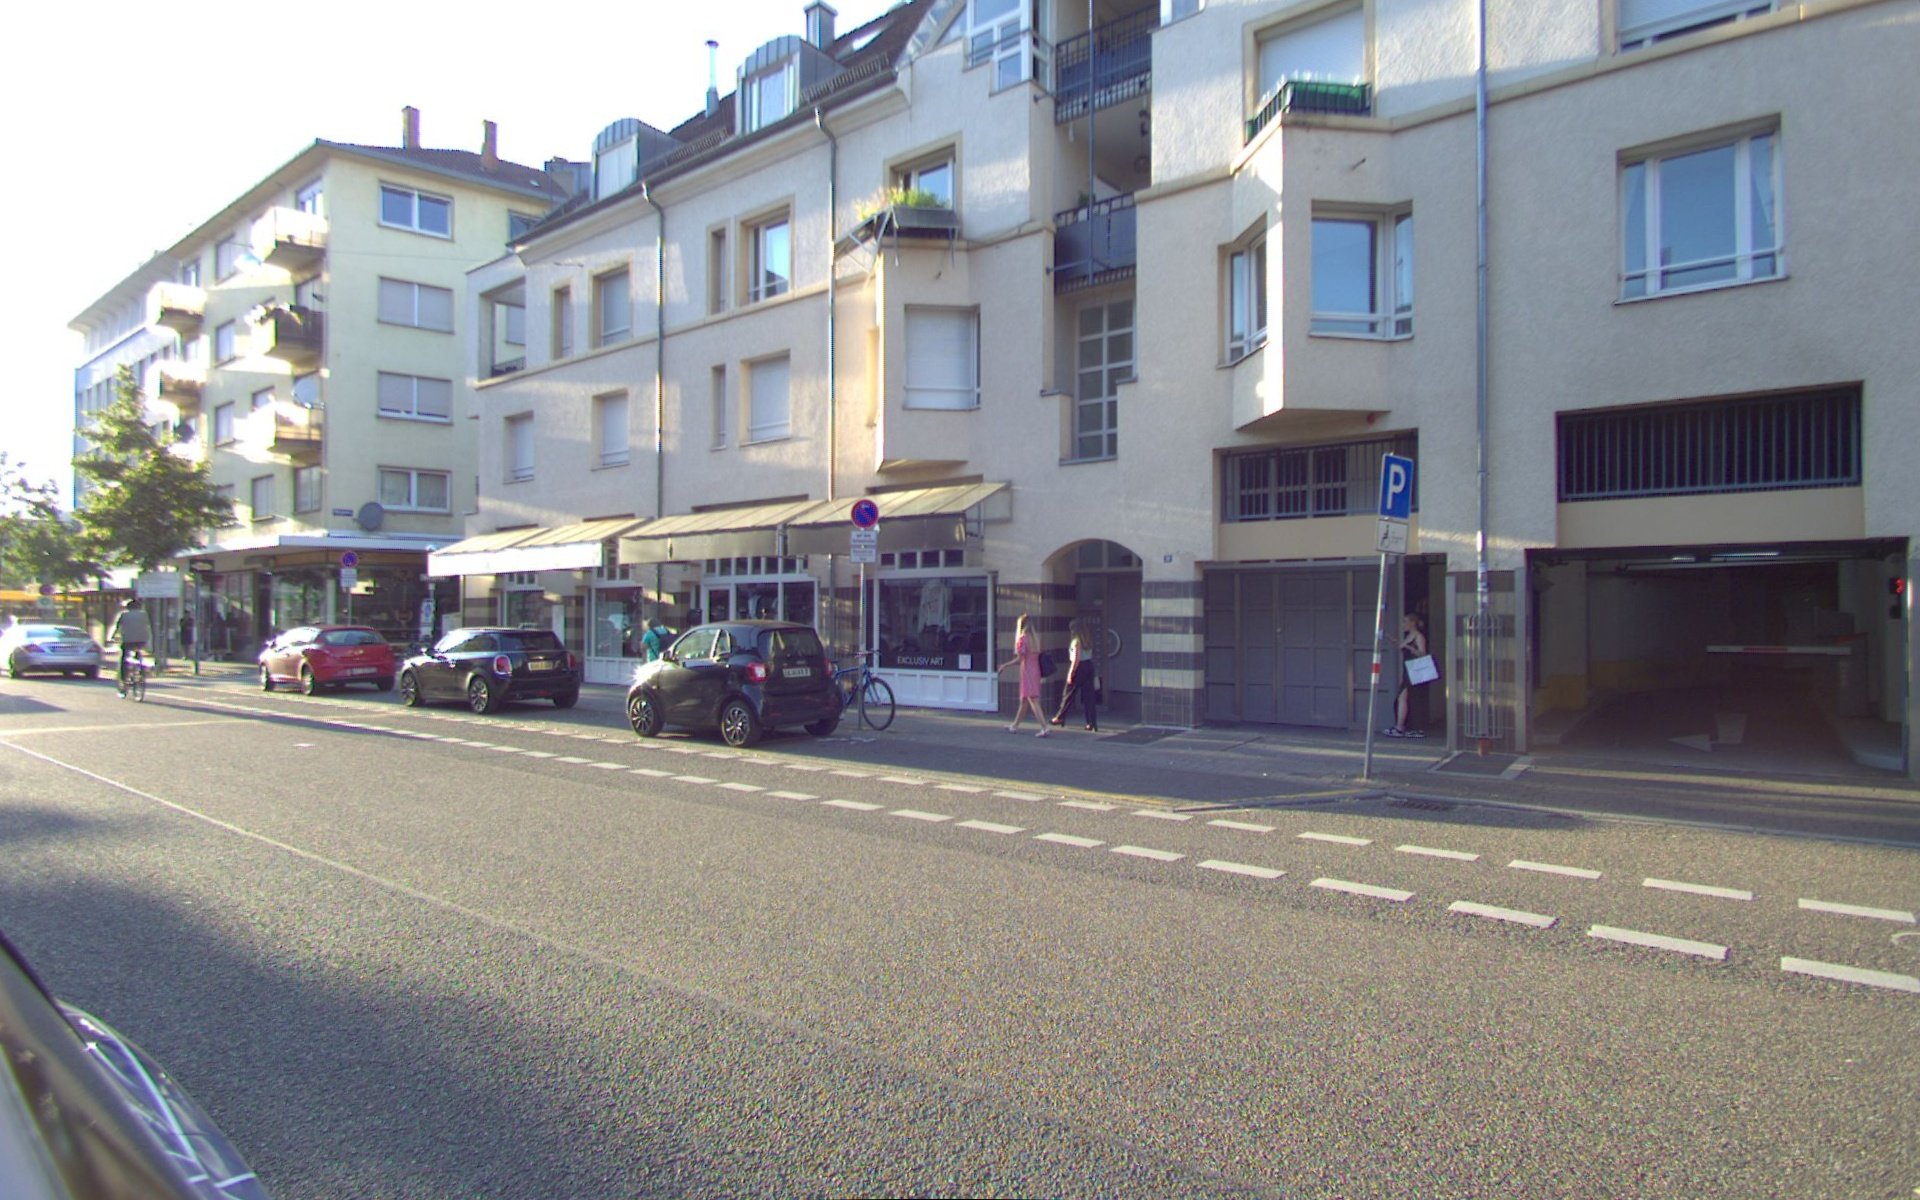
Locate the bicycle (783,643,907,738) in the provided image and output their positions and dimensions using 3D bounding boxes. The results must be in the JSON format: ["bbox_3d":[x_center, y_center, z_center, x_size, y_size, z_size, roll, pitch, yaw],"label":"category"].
[{"bbox_3d":[-1.658,1.242,14.336,1.976,1.215,0.552,-1,-2,41],"label":"bicycle"}]

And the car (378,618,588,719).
[{"bbox_3d":[-8.479,1.125,17.906,3.780,1.592,1.773,-1,-2,36],"label":"car"}]

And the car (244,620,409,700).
[{"bbox_3d":[-13.890,1.243,22.137,3.780,1.592,1.773,-1,-2,36],"label":"car"}]

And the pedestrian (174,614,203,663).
[{"bbox_3d":[-28.818,1.426,37.795,0.666,1.805,0.711,-1,-1,39],"label":"pedestrian"}]

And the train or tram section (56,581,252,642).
[{"bbox_3d":[-55.892,0.723,70.838,3.110,3.839,11.815,-1,0,8],"label":"train or tram section"}]

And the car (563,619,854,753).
[{"bbox_3d":[-3.530,1.066,13.939,3.959,1.592,1.773,-1,-2,36],"label":"car"}]

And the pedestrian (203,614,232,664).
[{"bbox_3d":[-26.977,1.399,36.762,0.666,1.805,0.711,-1,-1,39],"label":"pedestrian"}]

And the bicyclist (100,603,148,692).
[{"bbox_3d":[-15.315,0.851,18.542,0.802,1.593,0.541,-1,-2,41],"label":"bicyclist"}]

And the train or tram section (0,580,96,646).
[{"bbox_3d":[-57.431,0.750,59.734,3.110,3.839,10.415,-1,0,8],"label":"train or tram section"}]

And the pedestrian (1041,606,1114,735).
[{"bbox_3d":[1.614,0.941,13.926,0.830,1.713,0.554,-1,-2,38],"label":"pedestrian"}]

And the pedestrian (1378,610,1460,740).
[{"bbox_3d":[5.782,0.923,12.760,0.525,1.584,0.780,1,-2,-35],"label":"pedestrian"}]

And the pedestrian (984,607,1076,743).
[{"bbox_3d":[0.918,0.956,13.368,1.039,1.713,0.624,-1,-2,38],"label":"pedestrian"}]

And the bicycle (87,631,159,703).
[{"bbox_3d":[-15.541,1.217,18.766,2.129,1.252,0.656,-1,-4,42],"label":"bicycle"}]

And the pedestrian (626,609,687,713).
[{"bbox_3d":[-5.215,1.027,17.404,0.737,1.747,0.711,-1,-1,38],"label":"pedestrian"}]

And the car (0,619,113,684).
[{"bbox_3d":[-24.847,1.349,27.406,4.397,1.617,1.975,-1,-3,37],"label":"car"}]
